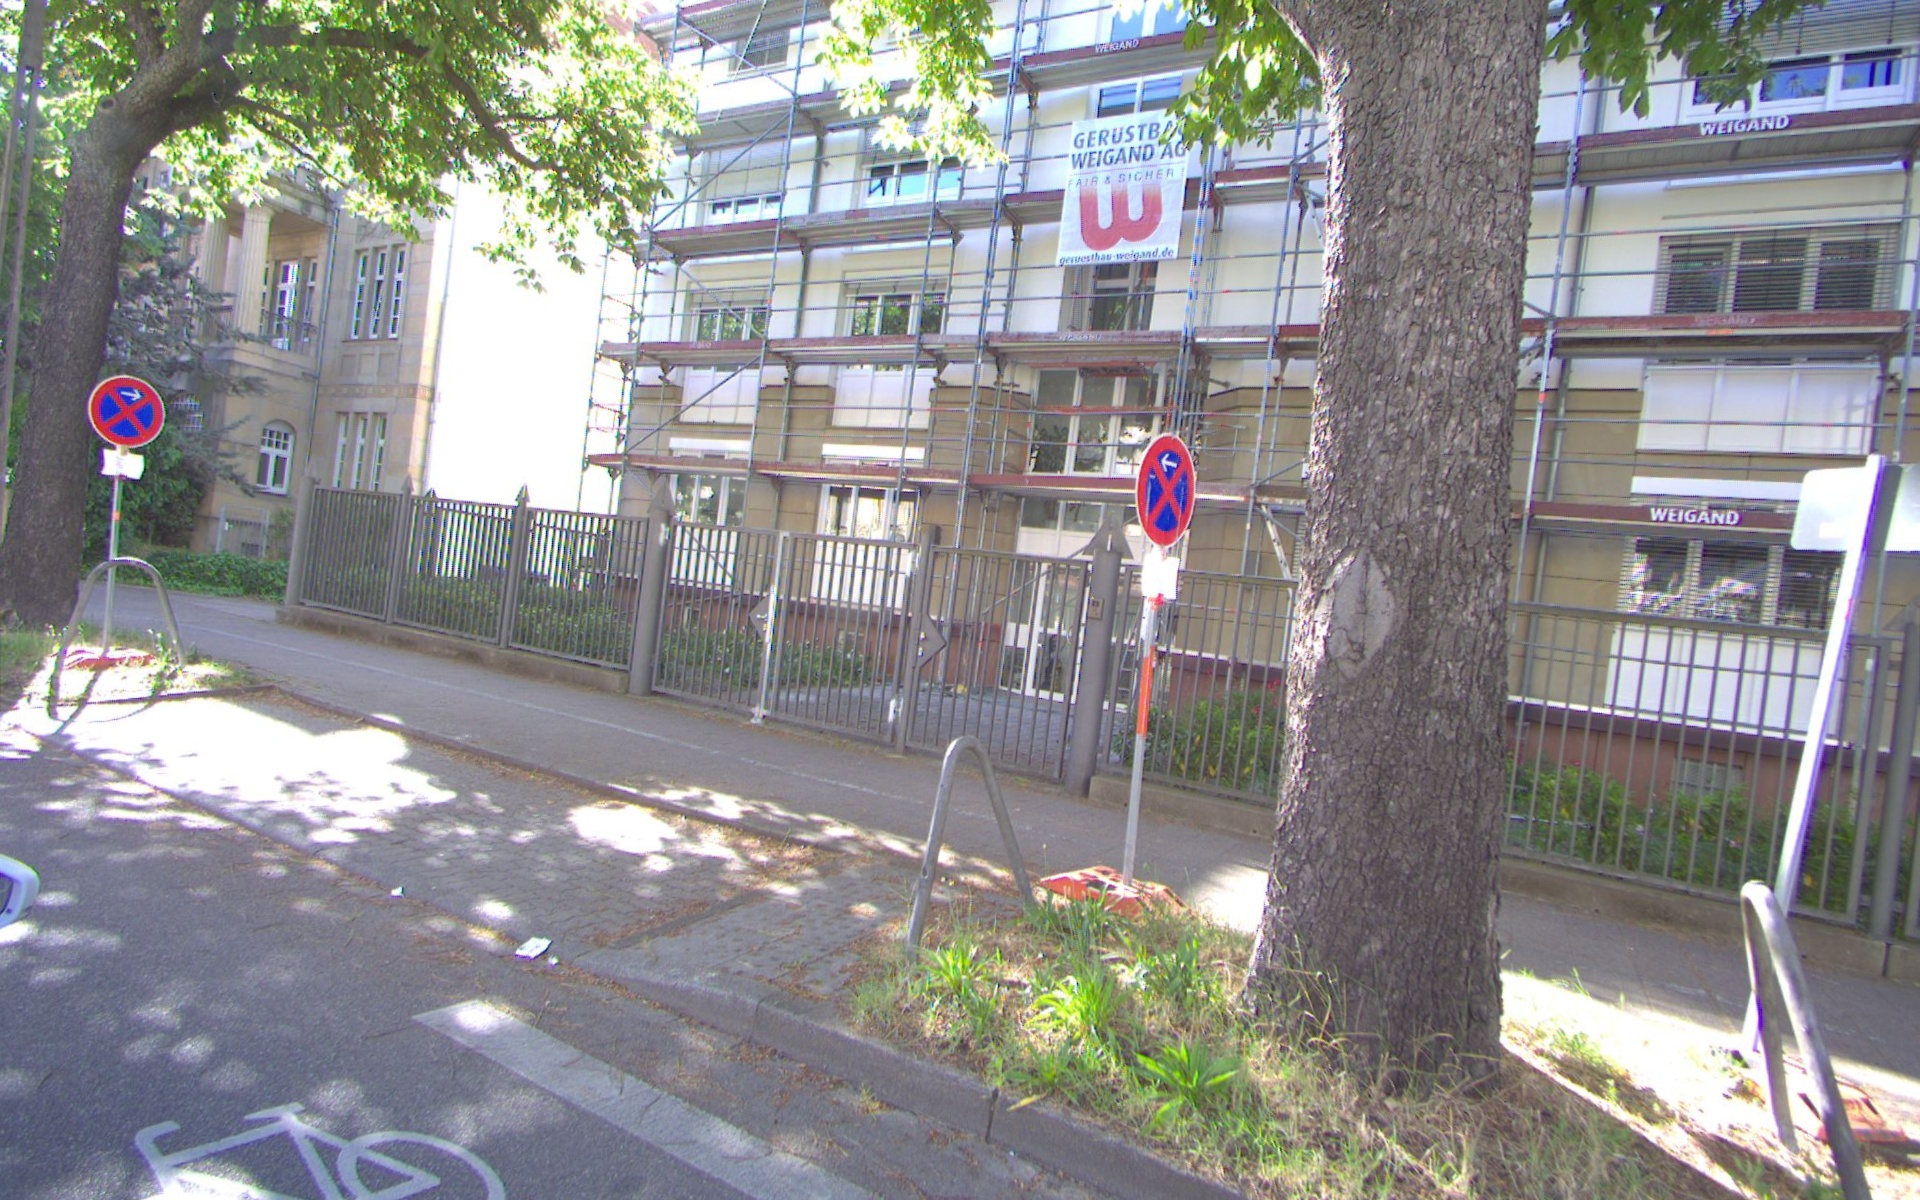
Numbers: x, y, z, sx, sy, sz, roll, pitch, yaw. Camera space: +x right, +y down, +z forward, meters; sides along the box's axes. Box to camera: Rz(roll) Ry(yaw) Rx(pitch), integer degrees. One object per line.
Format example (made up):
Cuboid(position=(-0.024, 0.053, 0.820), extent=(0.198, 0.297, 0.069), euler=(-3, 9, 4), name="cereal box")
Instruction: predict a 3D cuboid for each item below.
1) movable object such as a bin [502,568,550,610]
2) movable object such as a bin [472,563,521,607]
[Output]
Cuboid(position=(-11.299, -0.285, 26.201), extent=(0.637, 0.966, 0.835), euler=(6, -2, 30), name="movable object such as a bin")
Cuboid(position=(-11.720, -0.371, 25.444), extent=(0.637, 0.966, 0.835), euler=(6, -2, 30), name="movable object such as a bin")
